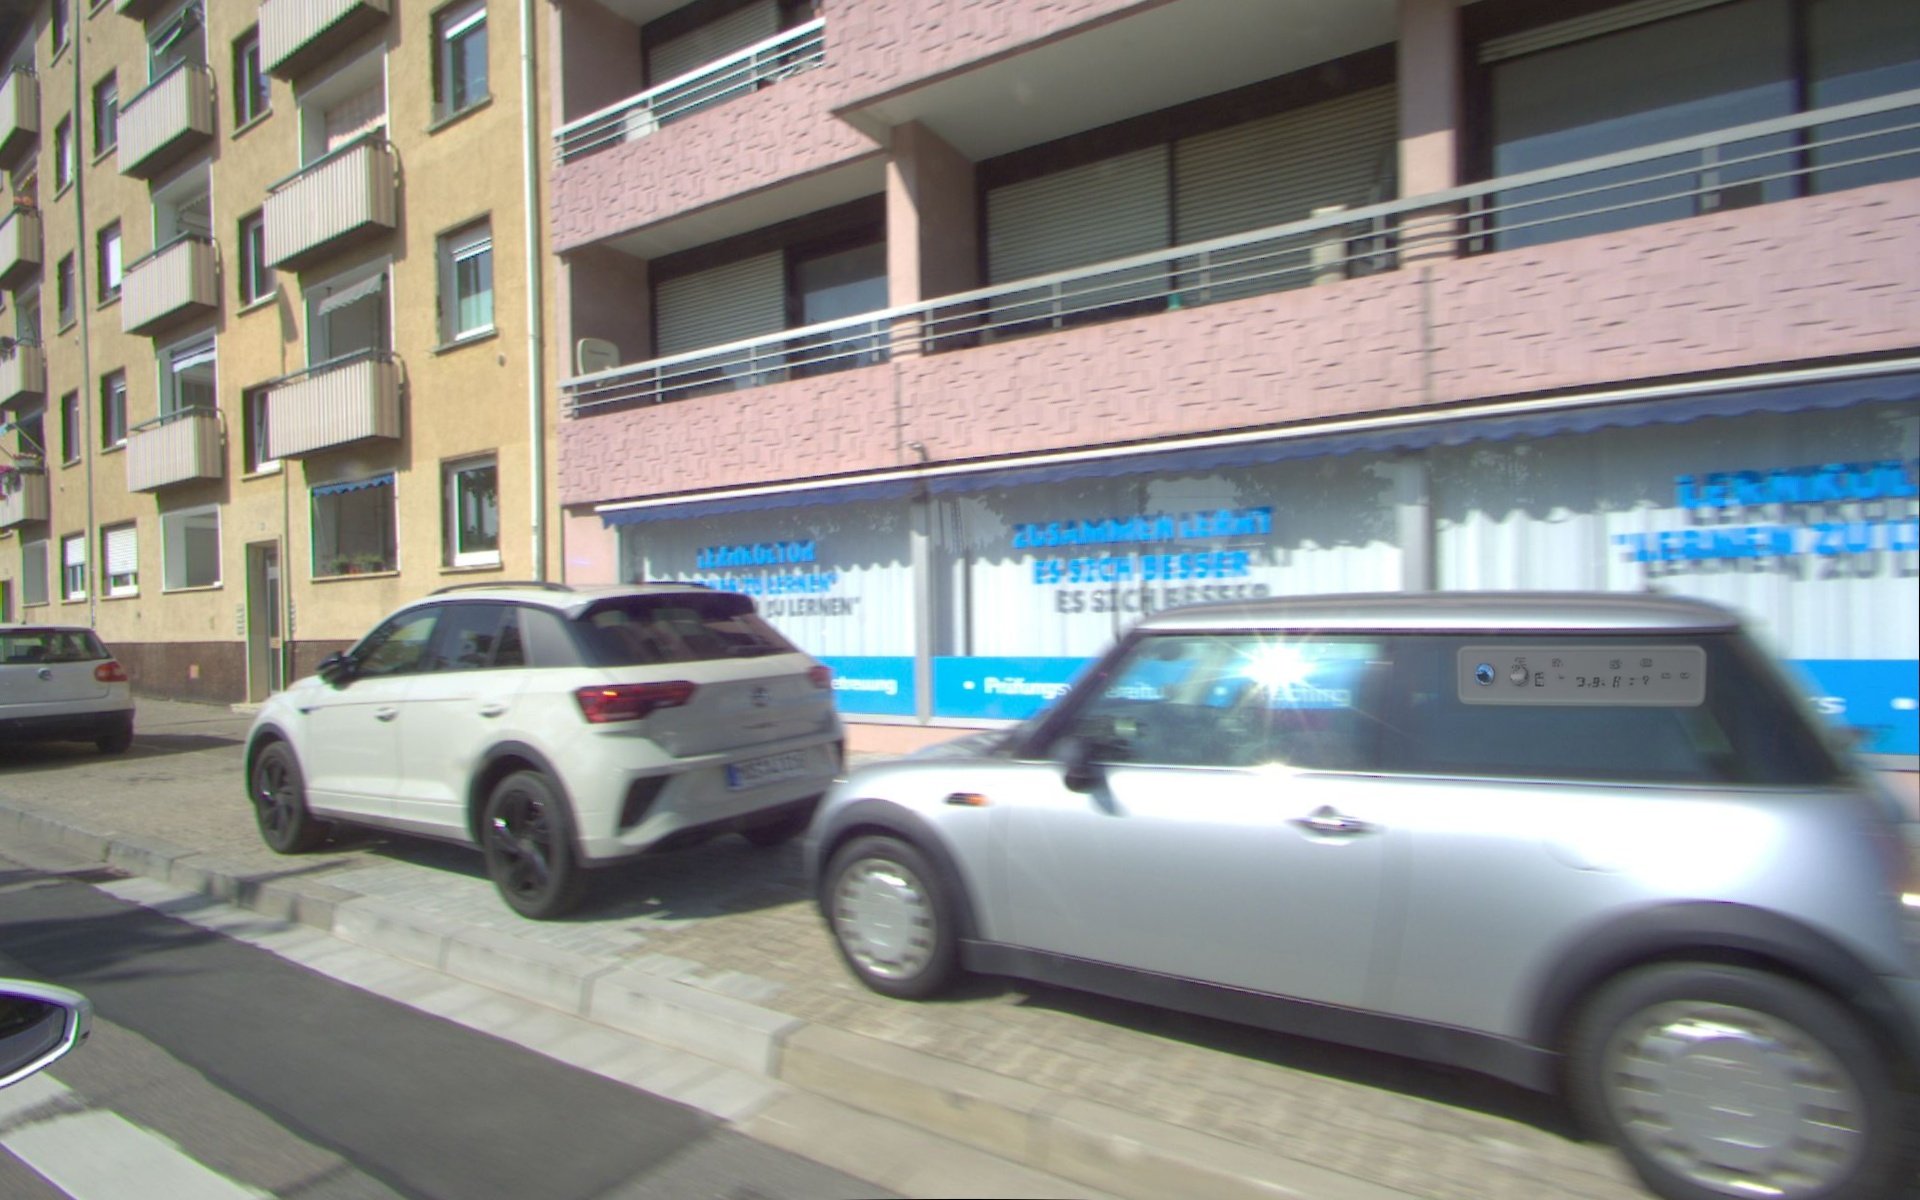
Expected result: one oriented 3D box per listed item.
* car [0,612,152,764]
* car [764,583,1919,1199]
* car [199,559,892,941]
[{"bbox_3d":[-11.222,0.931,11.601,4.070,1.526,1.752,-1,0,34],"label":"car"},{"bbox_3d":[1.131,0.708,3.569,3.384,1.428,1.673,-1,1,34],"label":"car"},{"bbox_3d":[-2.645,0.652,6.010,4.293,1.561,1.732,-1,0,34],"label":"car"}]
